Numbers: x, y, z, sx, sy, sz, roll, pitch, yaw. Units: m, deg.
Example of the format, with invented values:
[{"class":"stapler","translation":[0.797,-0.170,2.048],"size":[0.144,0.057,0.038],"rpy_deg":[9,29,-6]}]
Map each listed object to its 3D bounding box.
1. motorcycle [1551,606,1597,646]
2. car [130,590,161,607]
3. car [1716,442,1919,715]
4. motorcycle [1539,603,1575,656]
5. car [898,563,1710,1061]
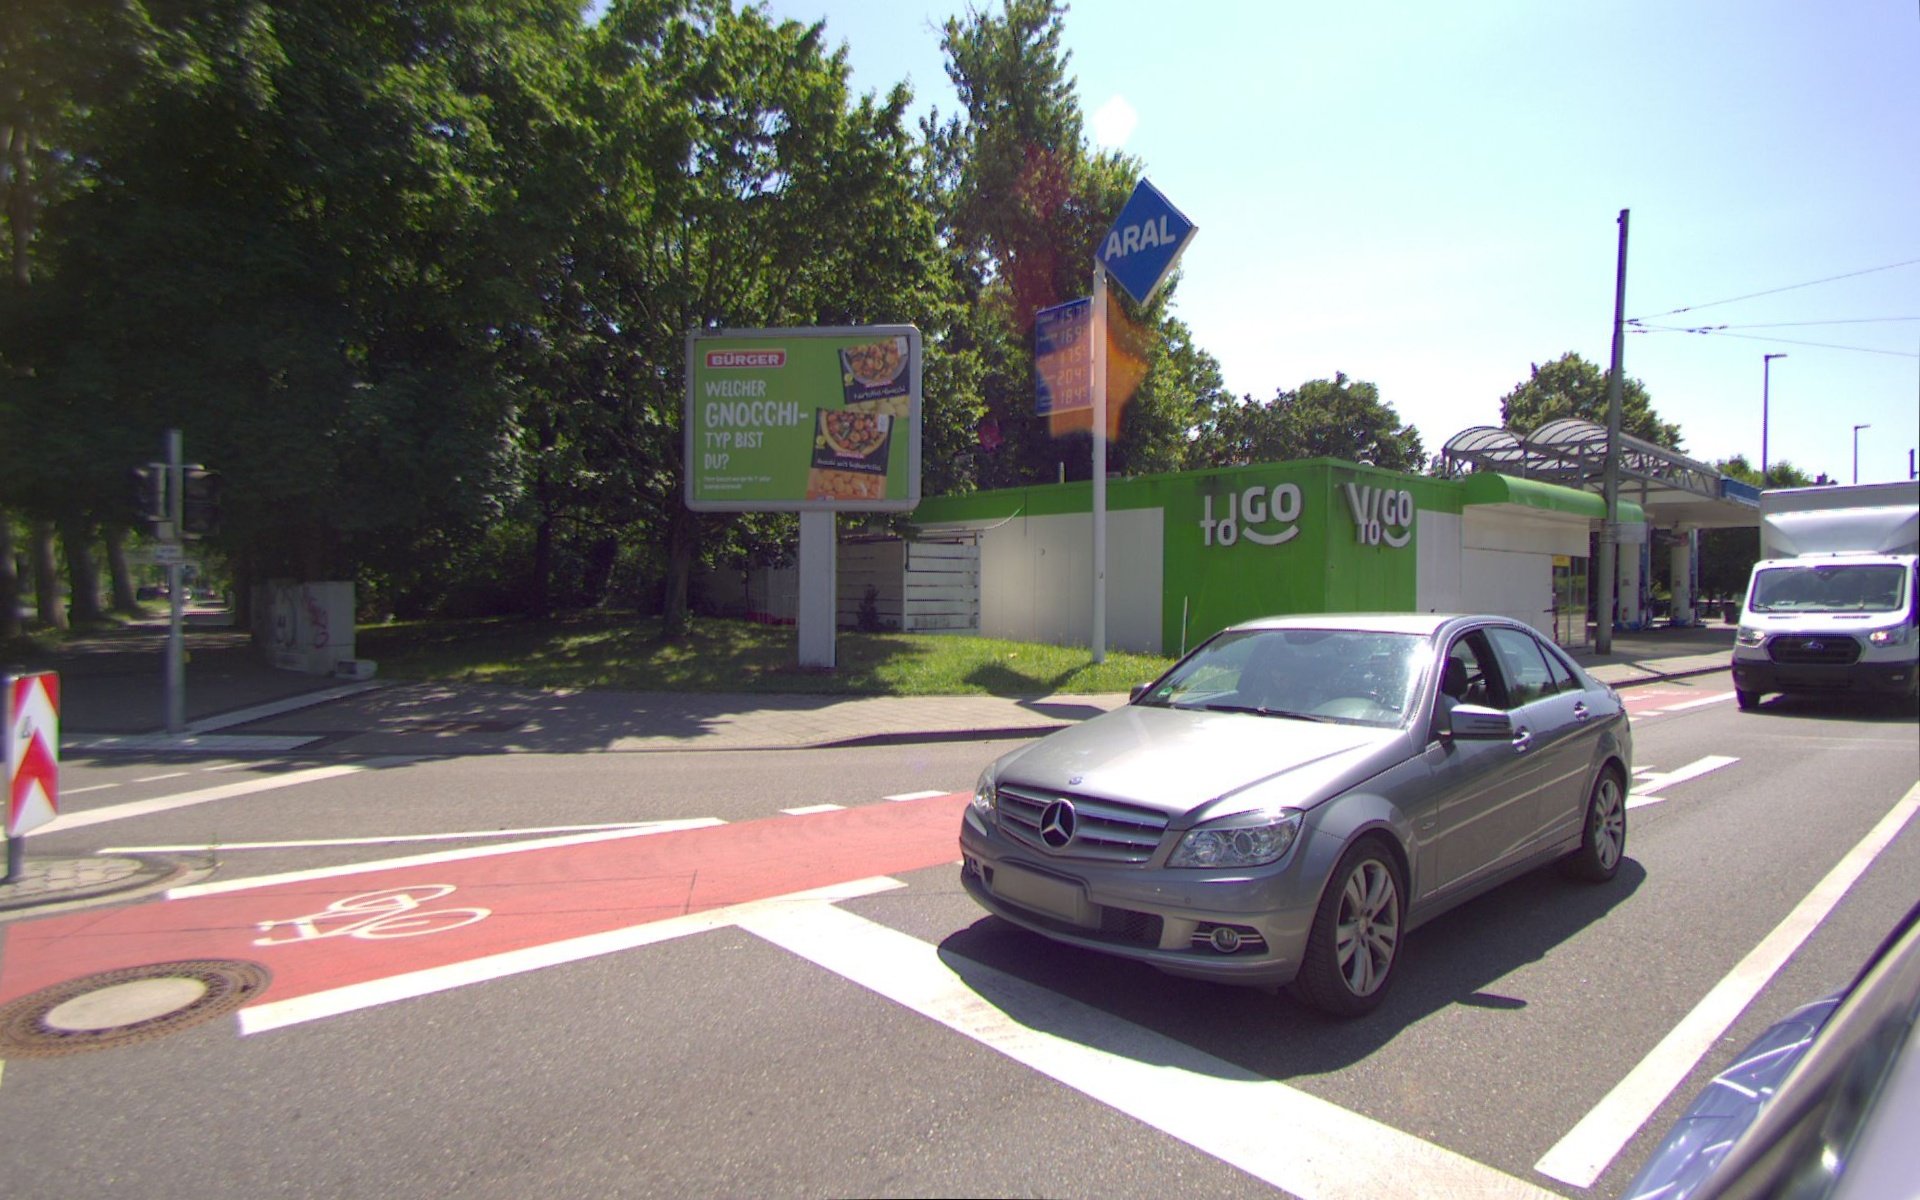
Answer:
[{"class":"motorcycle","translation":[19.619,0.820,32.366],"size":[0.357,1.226,1.156],"rpy_deg":[2,1,-42]},{"class":"car","translation":[-74.177,-0.140,92.206],"size":[1.674,1.464,3.388],"rpy_deg":[-1,0,-30]},{"class":"car","translation":[14.453,-0.255,16.084],"size":[8.487,3.378,2.226],"rpy_deg":[0,-1,-42]},{"class":"motorcycle","translation":[13.333,0.651,22.605],"size":[1.098,1.118,0.253],"rpy_deg":[-1,6,-41]},{"class":"car","translation":[2.259,0.664,5.421],"size":[5.208,1.492,1.715],"rpy_deg":[0,-2,-41]}]
